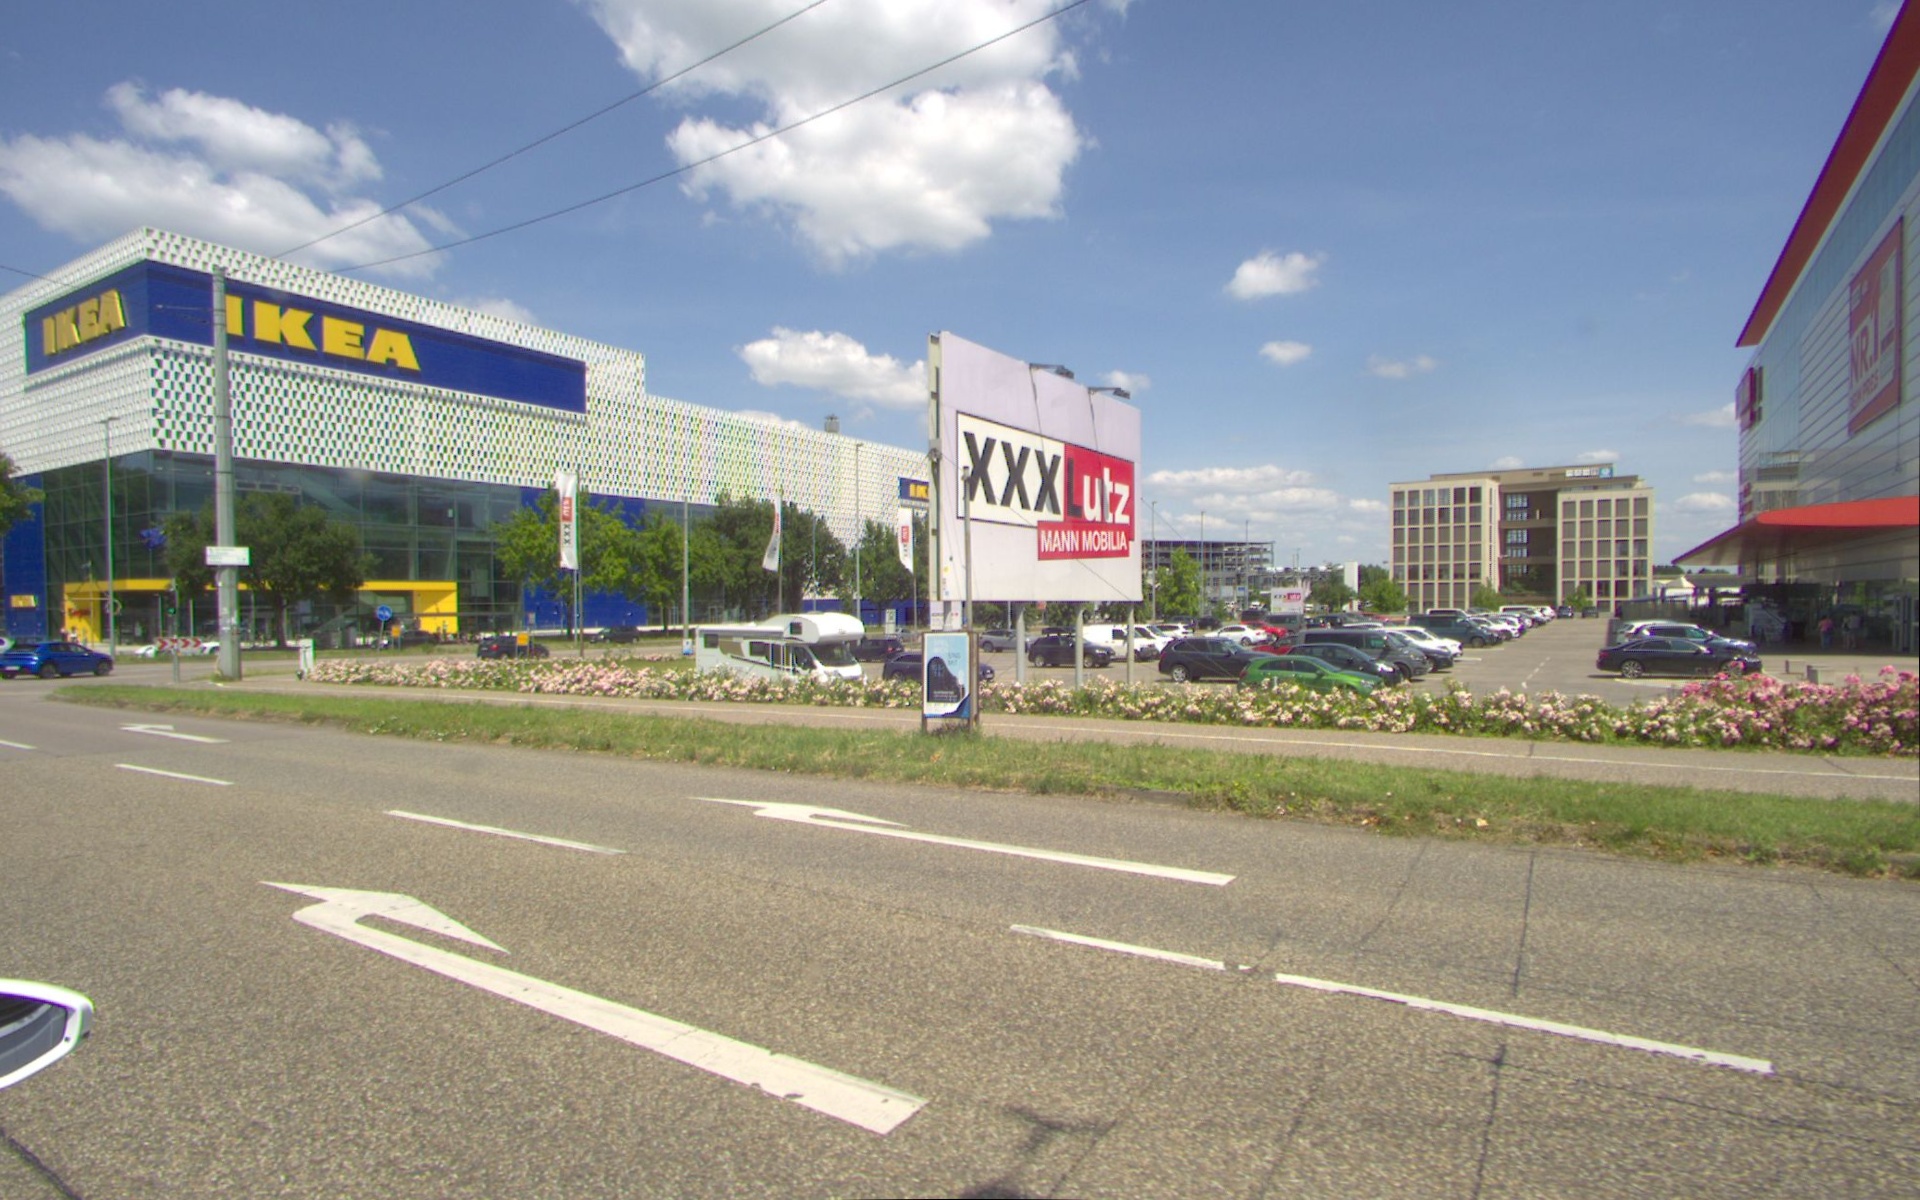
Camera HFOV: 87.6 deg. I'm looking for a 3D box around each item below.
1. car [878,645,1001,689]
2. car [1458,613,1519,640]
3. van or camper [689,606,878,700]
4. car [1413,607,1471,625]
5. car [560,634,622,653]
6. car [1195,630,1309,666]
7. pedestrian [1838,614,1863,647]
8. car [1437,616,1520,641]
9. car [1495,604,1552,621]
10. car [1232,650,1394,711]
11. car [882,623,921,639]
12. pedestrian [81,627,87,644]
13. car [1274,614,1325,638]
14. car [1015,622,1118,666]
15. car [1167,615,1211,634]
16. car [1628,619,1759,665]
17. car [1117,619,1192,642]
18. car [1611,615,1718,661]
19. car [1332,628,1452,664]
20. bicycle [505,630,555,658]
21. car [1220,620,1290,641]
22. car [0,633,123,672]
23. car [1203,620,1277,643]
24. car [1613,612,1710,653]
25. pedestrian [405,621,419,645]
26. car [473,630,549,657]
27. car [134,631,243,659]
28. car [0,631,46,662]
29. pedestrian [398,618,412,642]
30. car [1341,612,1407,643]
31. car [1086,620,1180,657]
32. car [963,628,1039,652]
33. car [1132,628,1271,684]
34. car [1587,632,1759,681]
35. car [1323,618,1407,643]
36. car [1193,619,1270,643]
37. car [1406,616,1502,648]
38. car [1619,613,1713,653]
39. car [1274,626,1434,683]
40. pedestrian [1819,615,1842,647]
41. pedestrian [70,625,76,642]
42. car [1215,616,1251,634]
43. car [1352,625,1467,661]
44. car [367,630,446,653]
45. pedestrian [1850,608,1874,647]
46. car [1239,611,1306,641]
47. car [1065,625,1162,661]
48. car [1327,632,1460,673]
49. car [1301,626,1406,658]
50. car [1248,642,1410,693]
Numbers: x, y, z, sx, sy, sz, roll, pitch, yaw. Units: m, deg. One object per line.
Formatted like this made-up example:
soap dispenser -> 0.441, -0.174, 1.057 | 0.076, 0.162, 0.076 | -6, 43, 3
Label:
car -> -0.853, 2.671, 40.534 | 4.702, 1.558, 1.989 | -1, 0, 33
car -> 39.967, 2.015, 75.794 | 3.943, 2.039, 1.990 | -1, -1, 32
van or camper -> -6.429, 1.828, 35.919 | 7.129, 3.059, 2.499 | -1, -2, 36
car -> 46.726, 1.572, 97.132 | 4.930, 1.631, 1.990 | -1, -2, 33
car -> -30.260, 3.538, 82.294 | 1.974, 1.505, 4.484 | -1, -2, 36
car -> 14.084, 2.283, 48.430 | 4.930, 1.632, 1.989 | -1, 0, 33
pedestrian -> 43.200, 1.481, 48.579 | 0.725, 1.578, 0.739 | -1, -1, 30
car -> 35.877, 1.982, 69.334 | 4.930, 1.631, 1.990 | -1, -2, 33
car -> 57.472, 1.311, 102.182 | 4.930, 1.631, 1.990 | -1, -2, 33
car -> 10.622, 2.373, 30.195 | 4.242, 1.517, 1.988 | -1, 2, 33
car -> -5.628, 2.982, 96.437 | 1.741, 1.546, 4.079 | -1, -1, 31
pedestrian -> -70.751, 2.895, 80.858 | 0.263, 1.360, 0.288 | -1, -1, 32
car -> 29.779, 2.304, 87.862 | 3.943, 2.039, 1.990 | -1, -1, 32
car -> 5.418, 2.230, 51.224 | 4.930, 2.162, 1.990 | -1, -1, 33
car -> 23.182, 2.525, 101.217 | 3.943, 1.863, 1.819 | -1, -1, 32
car -> 30.604, 1.758, 41.967 | 4.272, 1.804, 1.990 | -1, -3, 33
car -> 13.952, 2.178, 71.832 | 4.922, 1.631, 1.993 | -1, -1, 27
car -> 32.918, 1.763, 46.921 | 3.943, 2.039, 1.990 | -1, -1, 32
car -> 20.258, 2.120, 46.974 | 4.930, 1.631, 1.990 | -1, -2, 33
bicycle -> -24.396, 2.484, 56.846 | 0.976, 1.500, 2.415 | -1, -1, 37
car -> 22.954, 2.380, 78.036 | 4.930, 1.631, 1.990 | -1, -2, 33
car -> -36.066, 2.074, 40.109 | 1.807, 1.473, 4.002 | 1, -2, -3
car -> 20.558, 2.313, 73.610 | 4.930, 1.631, 1.990 | -1, -2, 33
car -> 35.947, 1.674, 51.418 | 3.943, 2.039, 1.990 | -1, -1, 32
pedestrian -> -46.456, 2.785, 84.899 | 0.813, 2.040, 0.709 | -1, -1, 35
car -> -26.899, 2.571, 60.093 | 1.737, 1.546, 4.088 | -1, -1, 23
car -> -43.373, 2.529, 56.380 | 1.974, 1.505, 4.485 | -1, -3, 36
car -> -48.045, 2.266, 49.082 | 1.974, 1.505, 4.485 | -1, -3, 36
pedestrian -> -47.382, 2.597, 85.471 | 0.813, 2.040, 0.709 | -1, -1, 35
car -> 28.477, 1.906, 68.926 | 3.943, 2.039, 1.990 | -1, -1, 32
car -> 9.885, 2.201, 57.264 | 4.930, 2.033, 1.990 | -1, -1, 33
car -> 2.854, 2.783, 70.056 | 5.084, 1.631, 1.990 | -1, -2, 33
car -> 9.469, 2.154, 39.435 | 4.930, 2.040, 1.989 | -1, 1, 33
car -> 25.437, 1.979, 35.991 | 4.930, 1.631, 1.990 | -1, -2, 33
car -> 27.032, 2.054, 66.920 | 4.930, 1.631, 1.990 | -1, -2, 33
car -> 19.372, 2.222, 71.570 | 4.930, 1.631, 1.990 | -1, -2, 33
car -> 30.133, 1.956, 61.148 | 5.106, 1.889, 1.991 | -1, -1, 31
car -> 37.605, 1.751, 53.458 | 3.943, 2.039, 1.990 | -1, -1, 32
car -> 15.077, 2.048, 38.478 | 5.456, 2.039, 1.990 | -1, -1, 33
pedestrian -> 43.321, 1.545, 49.830 | 0.725, 1.578, 0.739 | -1, -1, 30
pedestrian -> -71.661, 2.727, 80.928 | 0.263, 1.360, 0.288 | -1, -1, 32
car -> 35.070, 3.190, 128.646 | 4.067, 2.038, 1.480 | 2, -3, 33
car -> 22.051, 2.086, 49.138 | 4.930, 1.671, 1.990 | -1, -2, 33
car -> -38.678, 2.895, 70.069 | 1.974, 1.505, 4.484 | -1, -2, 36
pedestrian -> 44.409, 1.363, 49.285 | 0.725, 1.893, 0.739 | -1, -1, 30
car -> 25.617, 2.133, 82.116 | 4.930, 2.333, 1.990 | -1, -1, 33
car -> 8.442, 2.335, 55.127 | 4.930, 1.876, 1.990 | -1, -2, 33
car -> 18.362, 2.186, 42.466 | 4.930, 1.631, 1.990 | -1, -2, 33
car -> 20.934, 2.217, 53.359 | 4.928, 1.631, 1.990 | -1, -2, 32
car -> 12.610, 2.257, 34.359 | 4.930, 1.570, 1.990 | -1, -2, 33
